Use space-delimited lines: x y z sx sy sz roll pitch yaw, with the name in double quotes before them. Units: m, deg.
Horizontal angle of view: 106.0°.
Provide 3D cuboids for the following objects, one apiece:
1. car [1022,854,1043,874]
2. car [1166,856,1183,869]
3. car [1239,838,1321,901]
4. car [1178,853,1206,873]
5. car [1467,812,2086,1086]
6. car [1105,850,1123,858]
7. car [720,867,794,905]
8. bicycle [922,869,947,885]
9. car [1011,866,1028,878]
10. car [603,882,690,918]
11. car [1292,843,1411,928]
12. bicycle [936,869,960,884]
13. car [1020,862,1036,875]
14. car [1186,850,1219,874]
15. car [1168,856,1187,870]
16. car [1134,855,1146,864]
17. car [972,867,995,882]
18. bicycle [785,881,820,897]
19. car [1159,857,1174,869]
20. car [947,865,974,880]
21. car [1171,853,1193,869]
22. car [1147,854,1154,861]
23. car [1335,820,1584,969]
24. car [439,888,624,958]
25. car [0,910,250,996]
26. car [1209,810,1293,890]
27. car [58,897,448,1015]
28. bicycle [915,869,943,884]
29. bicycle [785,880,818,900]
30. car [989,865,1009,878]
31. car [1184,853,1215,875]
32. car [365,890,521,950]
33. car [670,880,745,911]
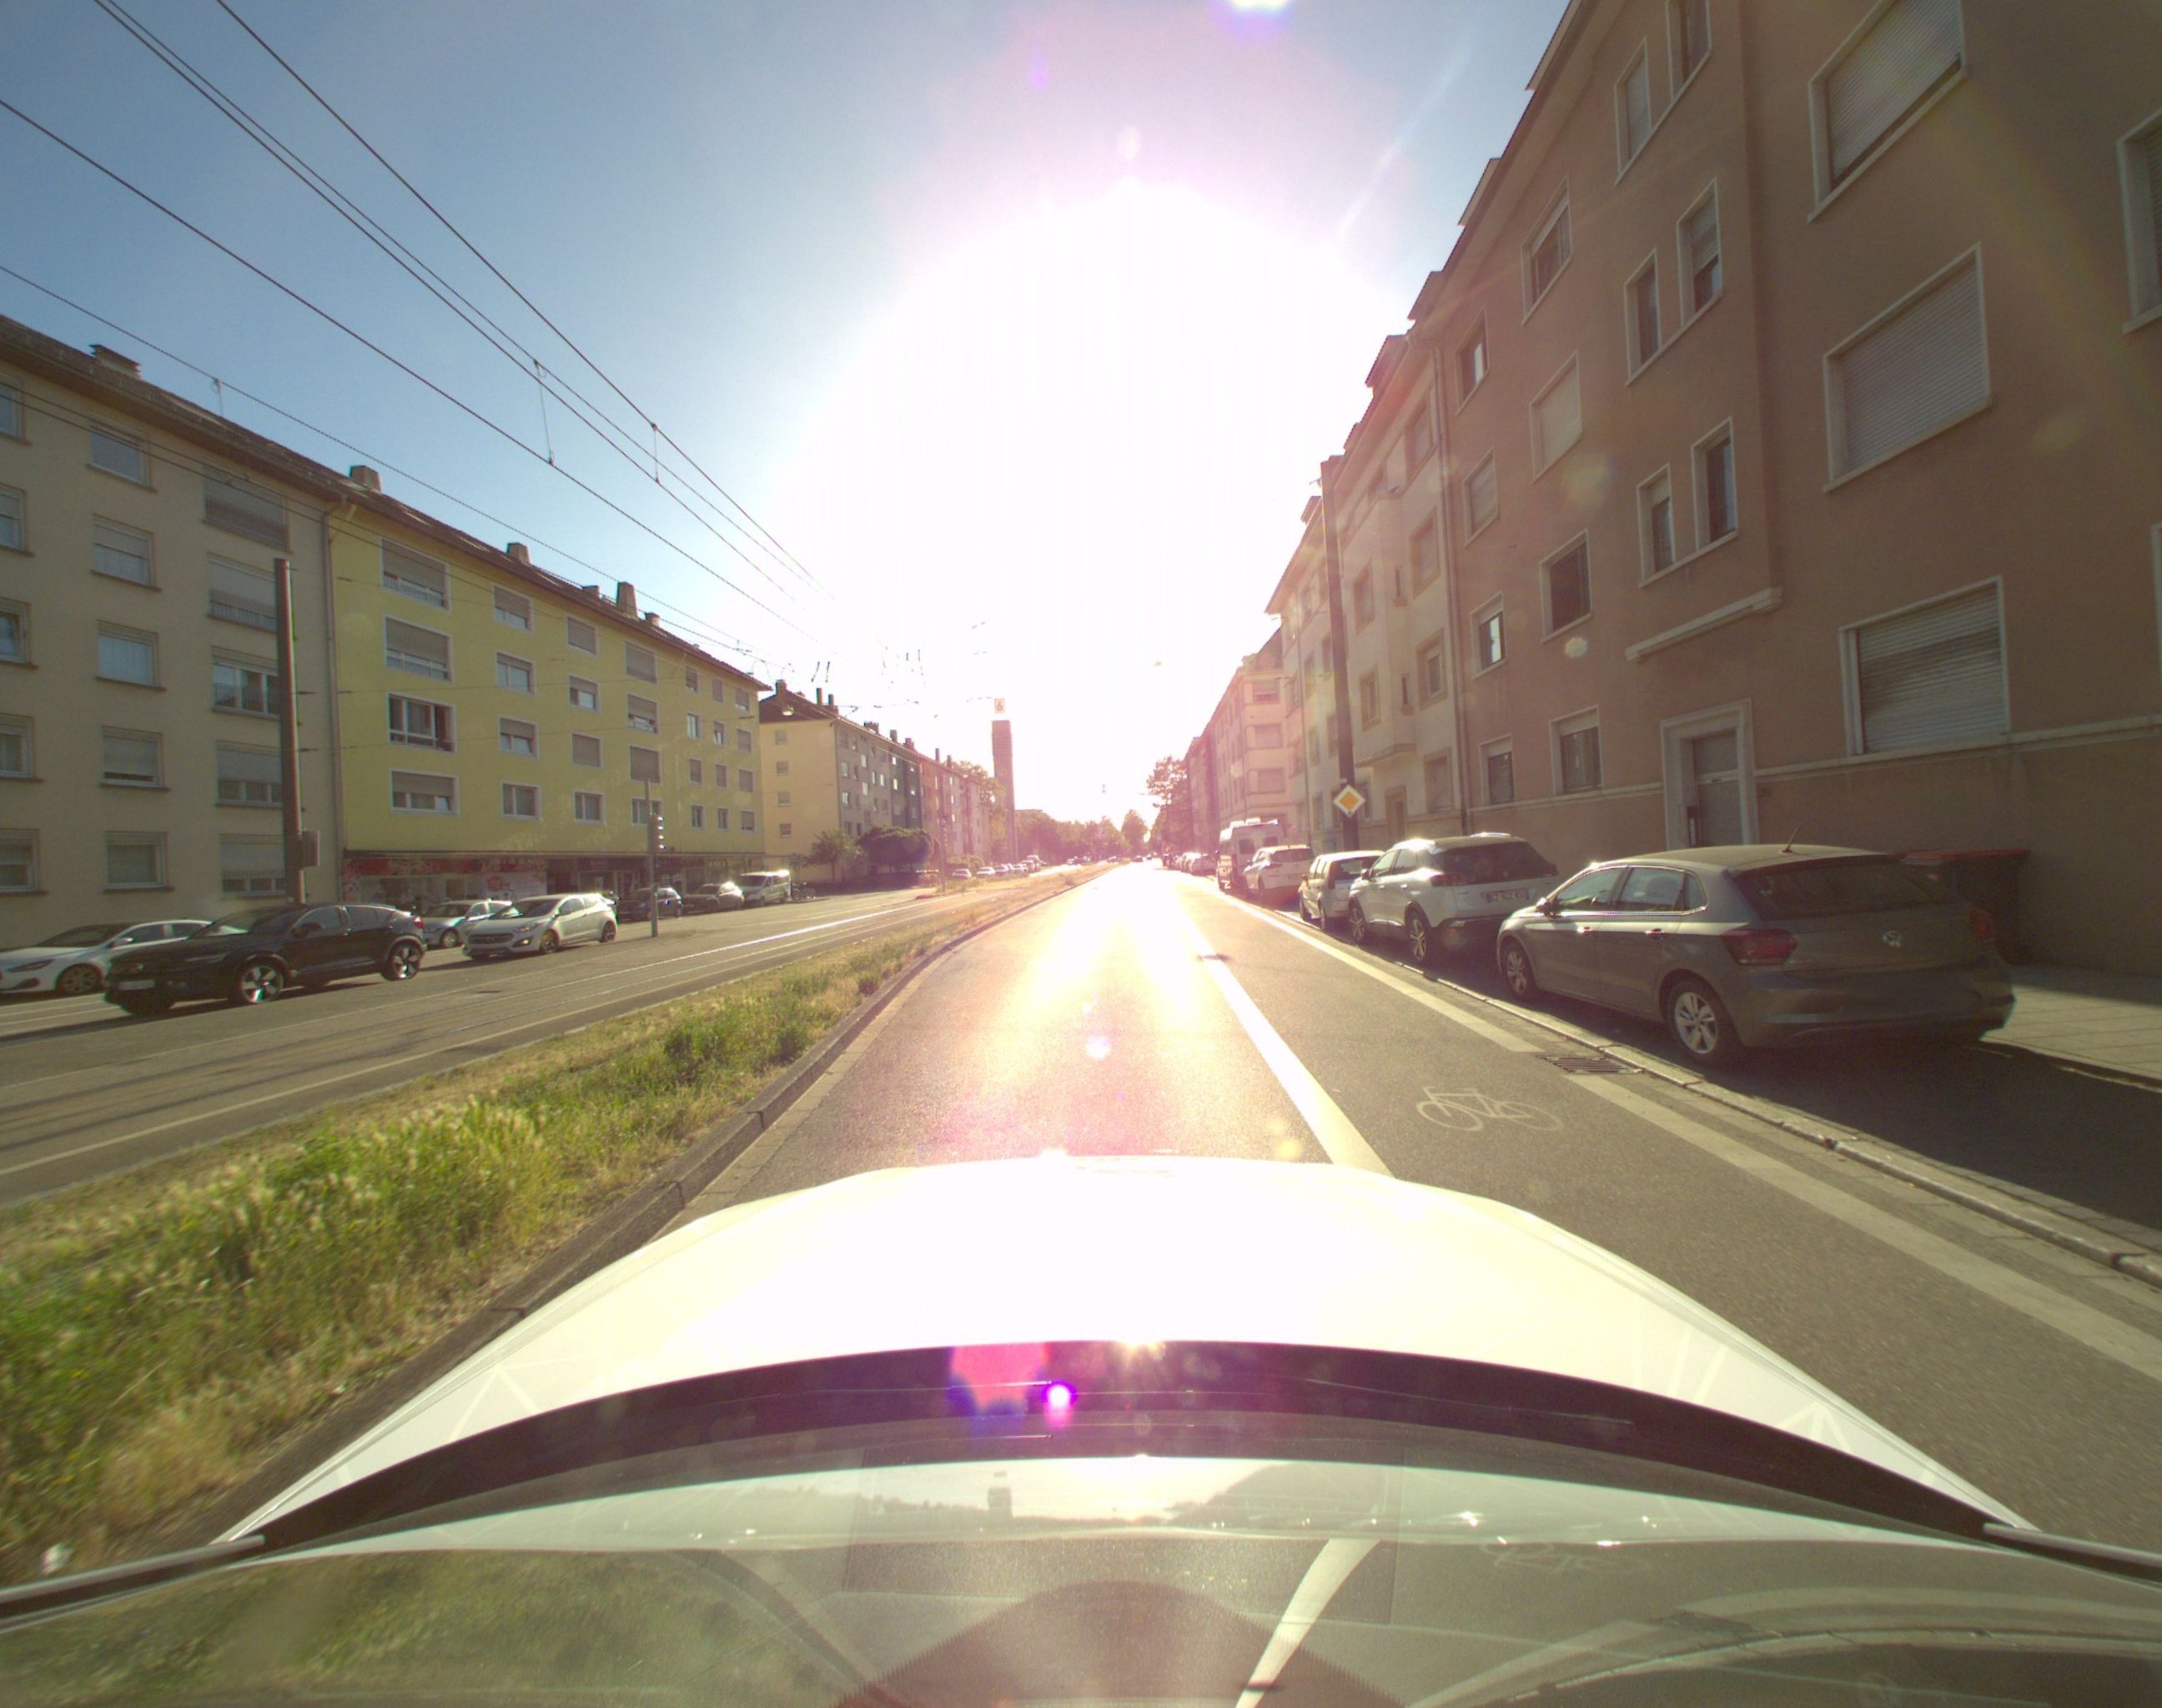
"car" -8.453 1.817 143.089 2.974 3.238 6.795 -3 -3 2
"car" 11.925 1.119 103.814 1.889 1.488 3.741 -3 -3 3
"car" 5.983 0.452 24.854 1.583 1.634 3.920 -5 -1 3
"car" 9.399 0.788 69.174 1.890 1.488 3.740 -3 -3 2
"car" 5.055 0.576 6.852 1.765 1.471 4.097 -5 -1 3
"car" 8.337 0.057 204.754 4.009 1.684 1.982 -2 -3 -27
"car" -19.438 1.865 49.142 1.995 2.106 5.308 -3 -1 3
"bicycle" -13.626 2.133 76.024 2.122 1.324 0.896 -3 -3 -3
"car" -9.286 2.715 122.458 1.986 1.554 4.001 -3 -3 2
"car" -20.239 2.113 38.109 1.689 1.426 3.774 -3 -1 7
"car" 5.400 0.585 16.660 1.495 1.426 3.459 -5 -1 6
"bicycle" -12.817 2.175 78.356 2.130 1.324 0.892 -2 -3 -14
"car" -8.762 2.461 134.290 1.986 1.965 4.753 -3 -3 2
"car" 8.709 0.573 58.614 1.890 1.488 3.740 -3 -3 2
"car" 11.043 1.044 93.170 1.889 1.488 3.741 -3 -3 3
"car" 12.714 1.188 176.144 1.989 1.783 3.994 -3 -3 -3
"car" -11.630 2.452 97.441 1.986 1.581 4.001 -3 -3 2
"bicycle" -18.963 2.384 55.465 2.074 1.022 0.801 -3 -3 -10
"car" 12.479 1.364 119.107 1.889 1.488 3.741 -3 -3 3
"car" -12.471 1.943 84.644 1.986 1.453 4.001 -3 -3 2
"car" 10.546 0.775 85.354 1.889 1.488 3.741 -3 -3 3
"car" 19.580 1.059 229.599 1.836 1.687 4.003 -3 -3 3
"car" 5.196 0.495 11.872 1.656 1.644 4.185 -5 -1 2
"car" -13.862 1.675 20.916 1.817 1.446 4.283 -3 -1 -1
"car" -21.414 2.087 17.982 1.768 1.435 4.061 -1 -1 5
"car" 6.524 -0.125 32.031 2.150 2.651 5.647 -5 -1 3
"car" -13.888 1.605 14.181 1.955 1.480 4.571 -3 -1 2
"bicycle" -13.841 2.053 74.184 2.301 1.305 0.913 -3 -3 0
"bicycle" -18.433 2.398 53.688 1.972 1.206 0.691 -2 -3 -23
"car" -10.827 2.363 107.637 1.986 1.554 4.001 -3 -3 2
"car" 9.265 0.782 63.853 1.890 1.488 3.740 -3 -3 2
"car" -20.697 2.088 26.657 1.823 1.581 3.807 -3 0 5
"car" -19.702 2.162 43.097 1.755 1.488 3.923 -3 -3 7
